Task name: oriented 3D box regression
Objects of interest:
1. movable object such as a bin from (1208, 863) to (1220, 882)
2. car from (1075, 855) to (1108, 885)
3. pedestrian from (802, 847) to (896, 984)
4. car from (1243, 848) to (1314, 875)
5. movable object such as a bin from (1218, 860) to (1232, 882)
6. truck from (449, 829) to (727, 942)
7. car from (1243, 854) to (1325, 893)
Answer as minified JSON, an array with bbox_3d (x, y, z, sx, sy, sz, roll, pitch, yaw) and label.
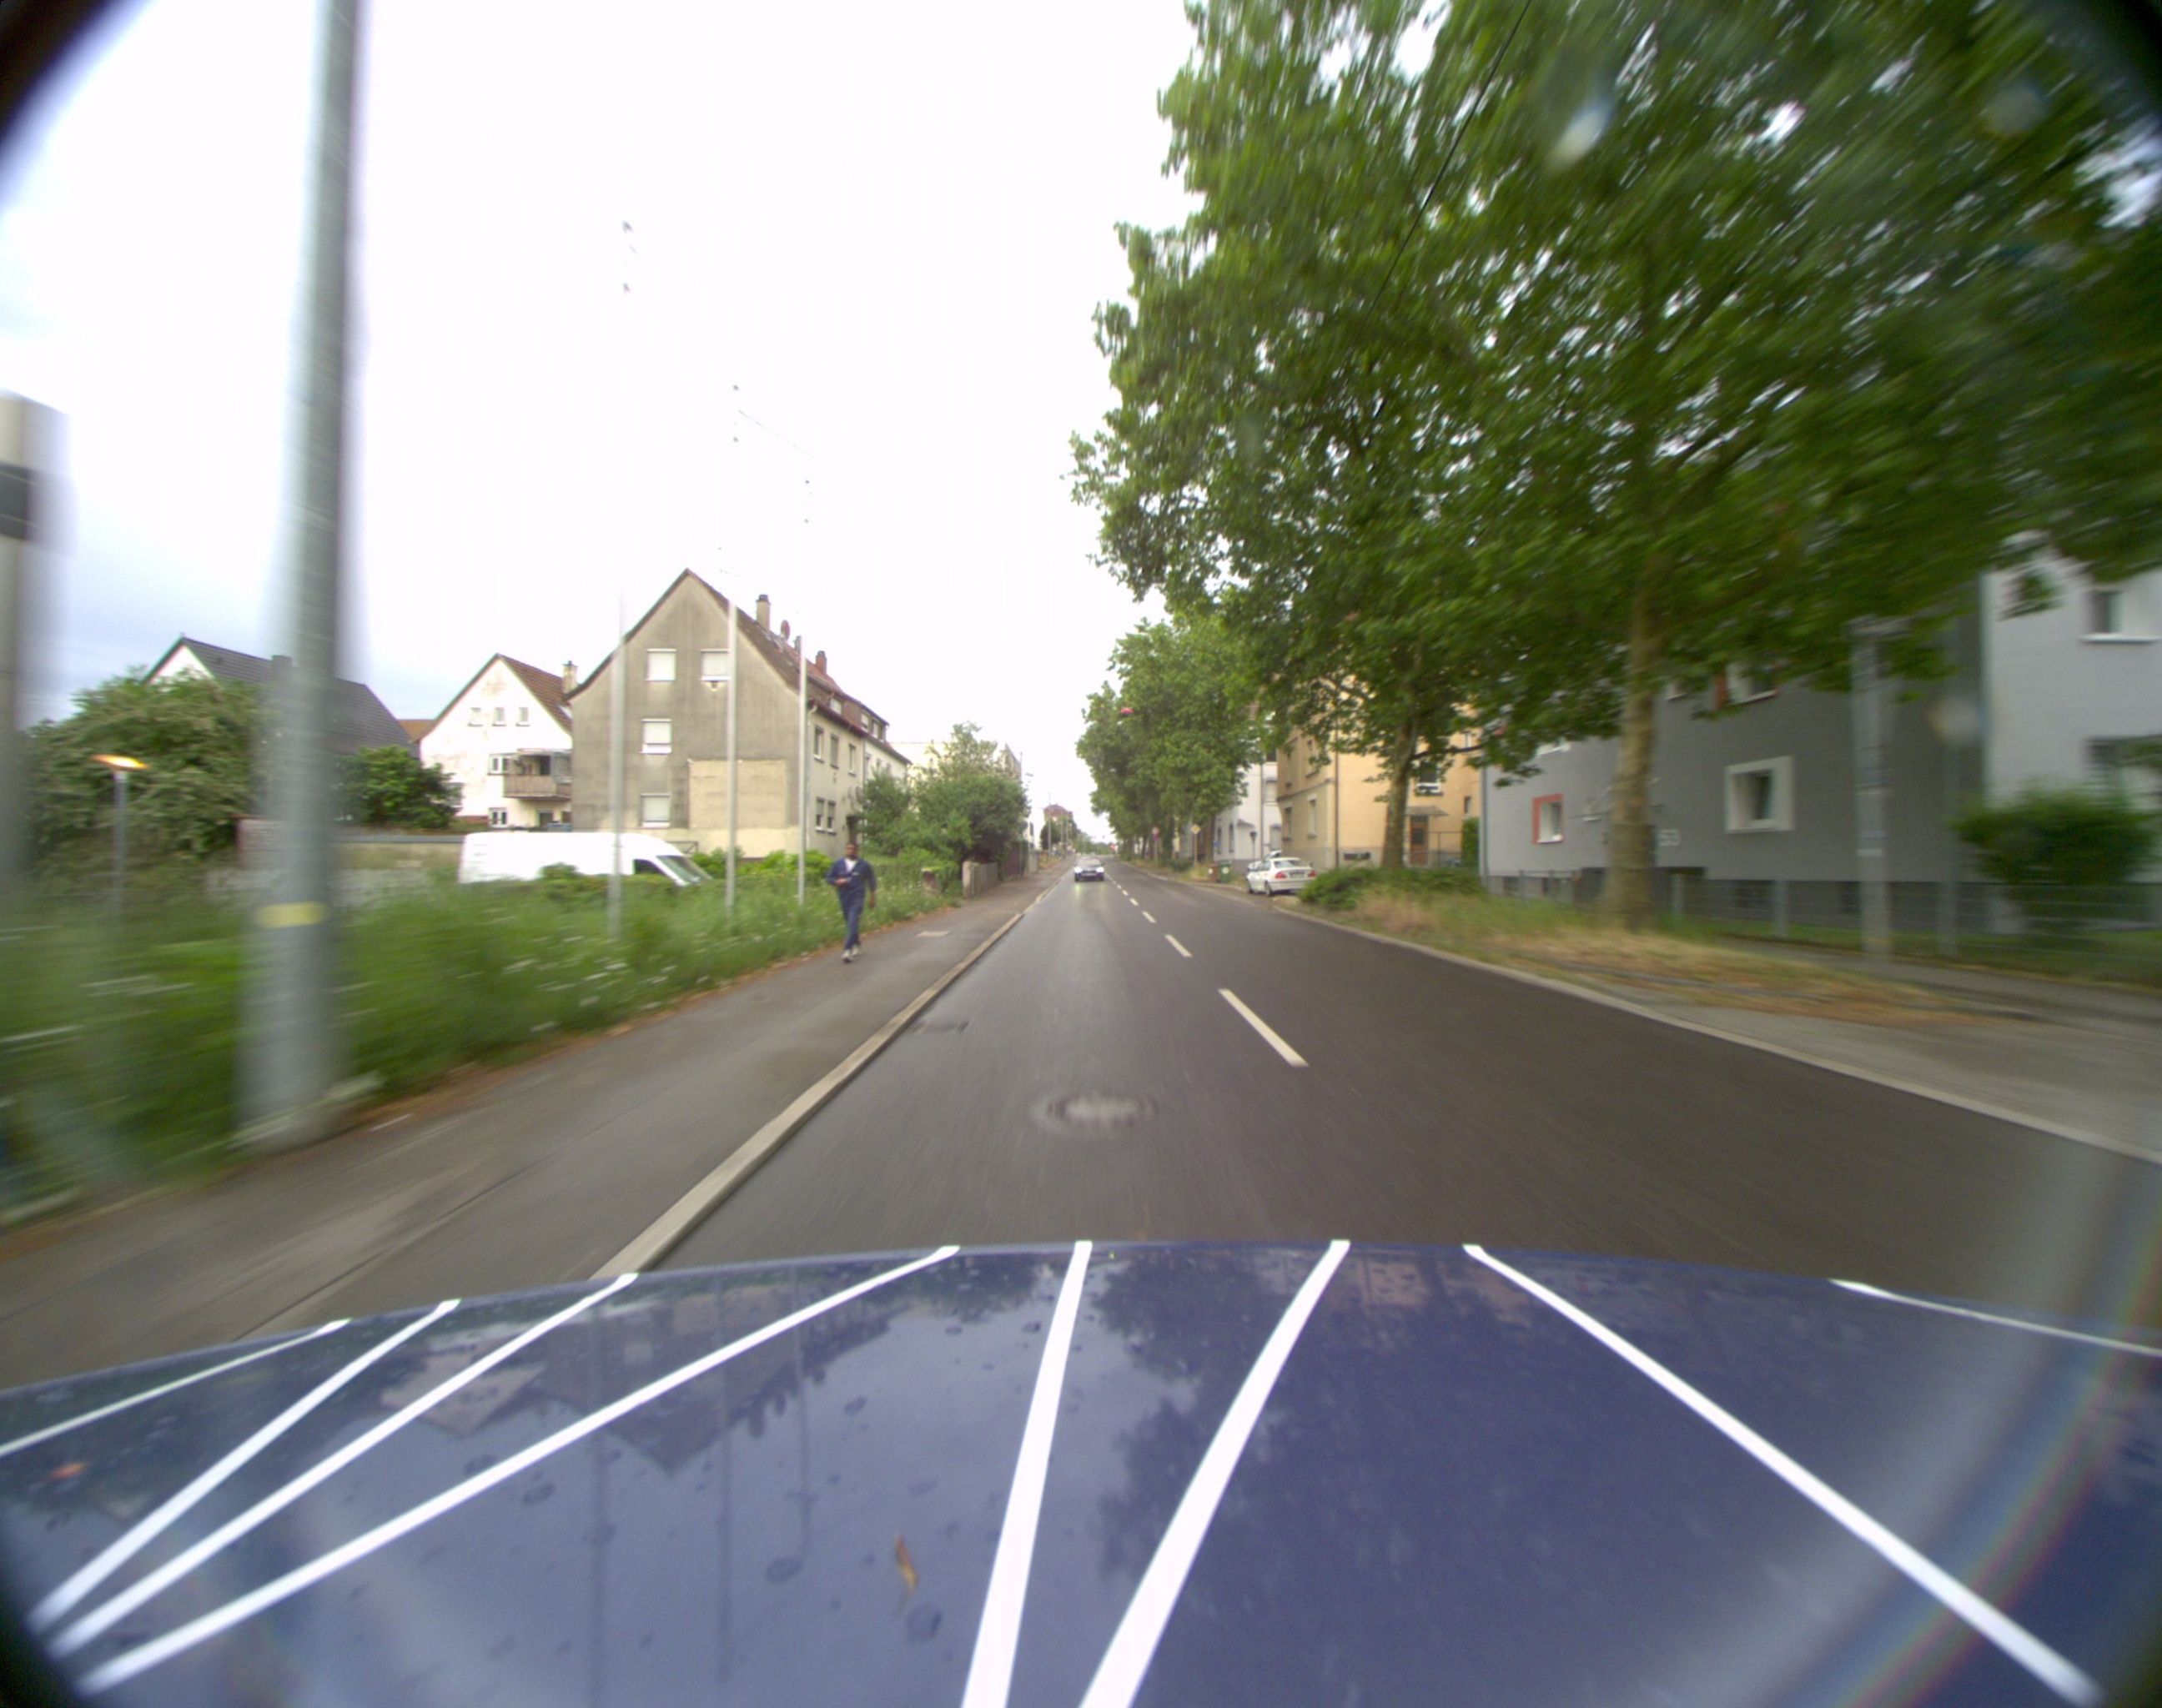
[{"bbox_3d":[6.655,0.910,38.038,0.513,0.922,0.581,1,1,0],"label":"movable object such as a bin"},{"bbox_3d":[0.622,0.947,46.839,1.949,1.644,3.858,-1,1,0],"label":"car"},{"bbox_3d":[-3.316,0.857,10.971,1.045,1.886,0.900,0,2,1],"label":"pedestrian"},{"bbox_3d":[14.664,0.549,56.587,4.682,1.768,2.020,-2,1,0],"label":"car"},{"bbox_3d":[7.219,0.855,38.090,0.536,1.051,0.762,1,1,0],"label":"movable object such as a bin"},{"bbox_3d":[-12.818,0.772,20.065,5.859,2.622,2.043,-2,1,0],"label":"truck"},{"bbox_3d":[7.673,0.701,29.210,1.760,1.318,4.537,-1,1,-3],"label":"car"}]
